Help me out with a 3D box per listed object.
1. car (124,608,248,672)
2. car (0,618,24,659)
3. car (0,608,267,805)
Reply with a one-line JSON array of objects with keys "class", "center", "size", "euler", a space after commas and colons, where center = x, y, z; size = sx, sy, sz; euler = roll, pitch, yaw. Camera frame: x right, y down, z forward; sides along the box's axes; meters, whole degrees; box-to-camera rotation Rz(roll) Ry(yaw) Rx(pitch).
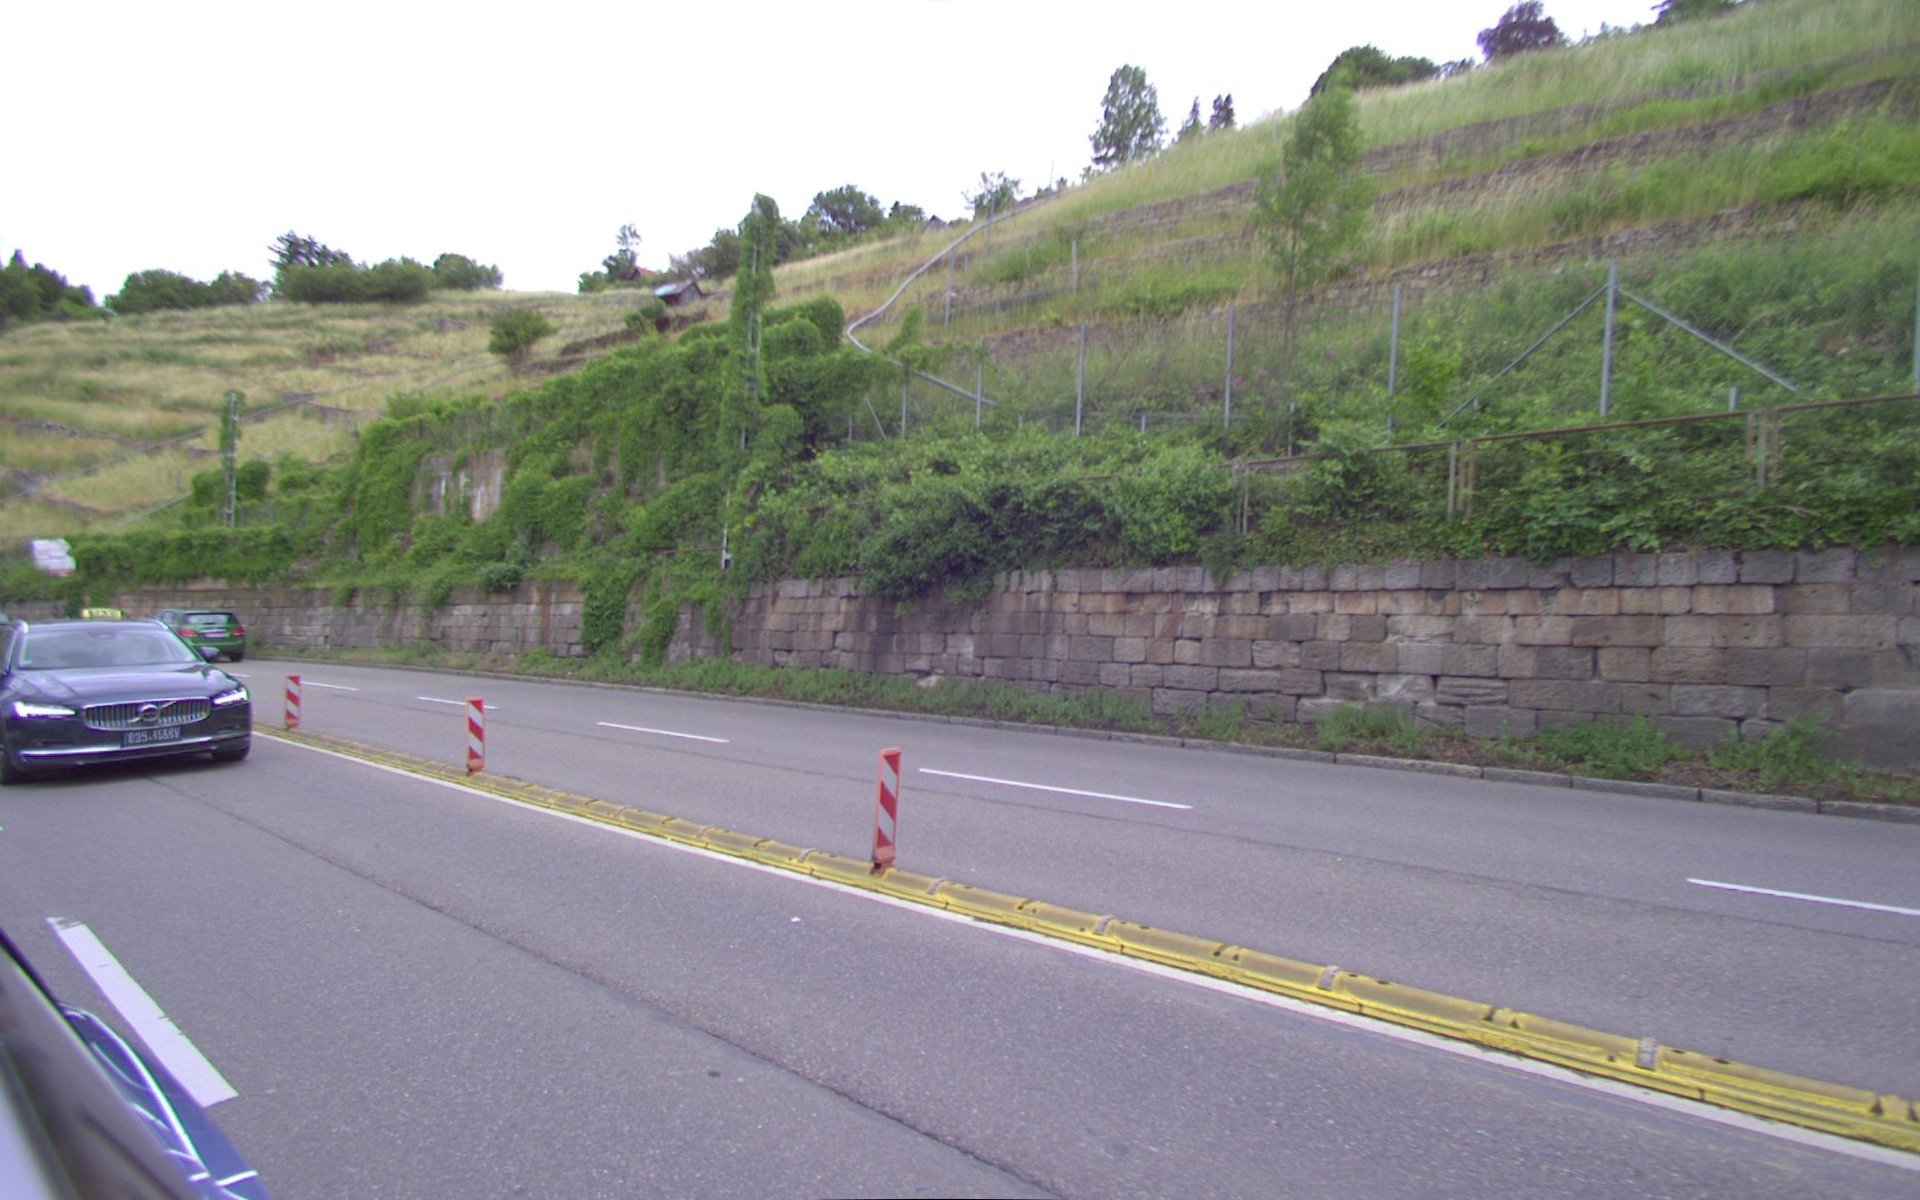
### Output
[{"class": "car", "center": [-22.559, 1.117, 29.468], "size": [3.993, 1.705, 1.890], "euler": [-1, 0, 37]}, {"class": "car", "center": [-36.249, 1.405, 37.092], "size": [3.979, 1.439, 1.586], "euler": [-1, 0, 27]}, {"class": "car", "center": [-9.125, 0.910, 10.588], "size": [5.024, 1.588, 1.915], "euler": [-1, -1, 41]}]
